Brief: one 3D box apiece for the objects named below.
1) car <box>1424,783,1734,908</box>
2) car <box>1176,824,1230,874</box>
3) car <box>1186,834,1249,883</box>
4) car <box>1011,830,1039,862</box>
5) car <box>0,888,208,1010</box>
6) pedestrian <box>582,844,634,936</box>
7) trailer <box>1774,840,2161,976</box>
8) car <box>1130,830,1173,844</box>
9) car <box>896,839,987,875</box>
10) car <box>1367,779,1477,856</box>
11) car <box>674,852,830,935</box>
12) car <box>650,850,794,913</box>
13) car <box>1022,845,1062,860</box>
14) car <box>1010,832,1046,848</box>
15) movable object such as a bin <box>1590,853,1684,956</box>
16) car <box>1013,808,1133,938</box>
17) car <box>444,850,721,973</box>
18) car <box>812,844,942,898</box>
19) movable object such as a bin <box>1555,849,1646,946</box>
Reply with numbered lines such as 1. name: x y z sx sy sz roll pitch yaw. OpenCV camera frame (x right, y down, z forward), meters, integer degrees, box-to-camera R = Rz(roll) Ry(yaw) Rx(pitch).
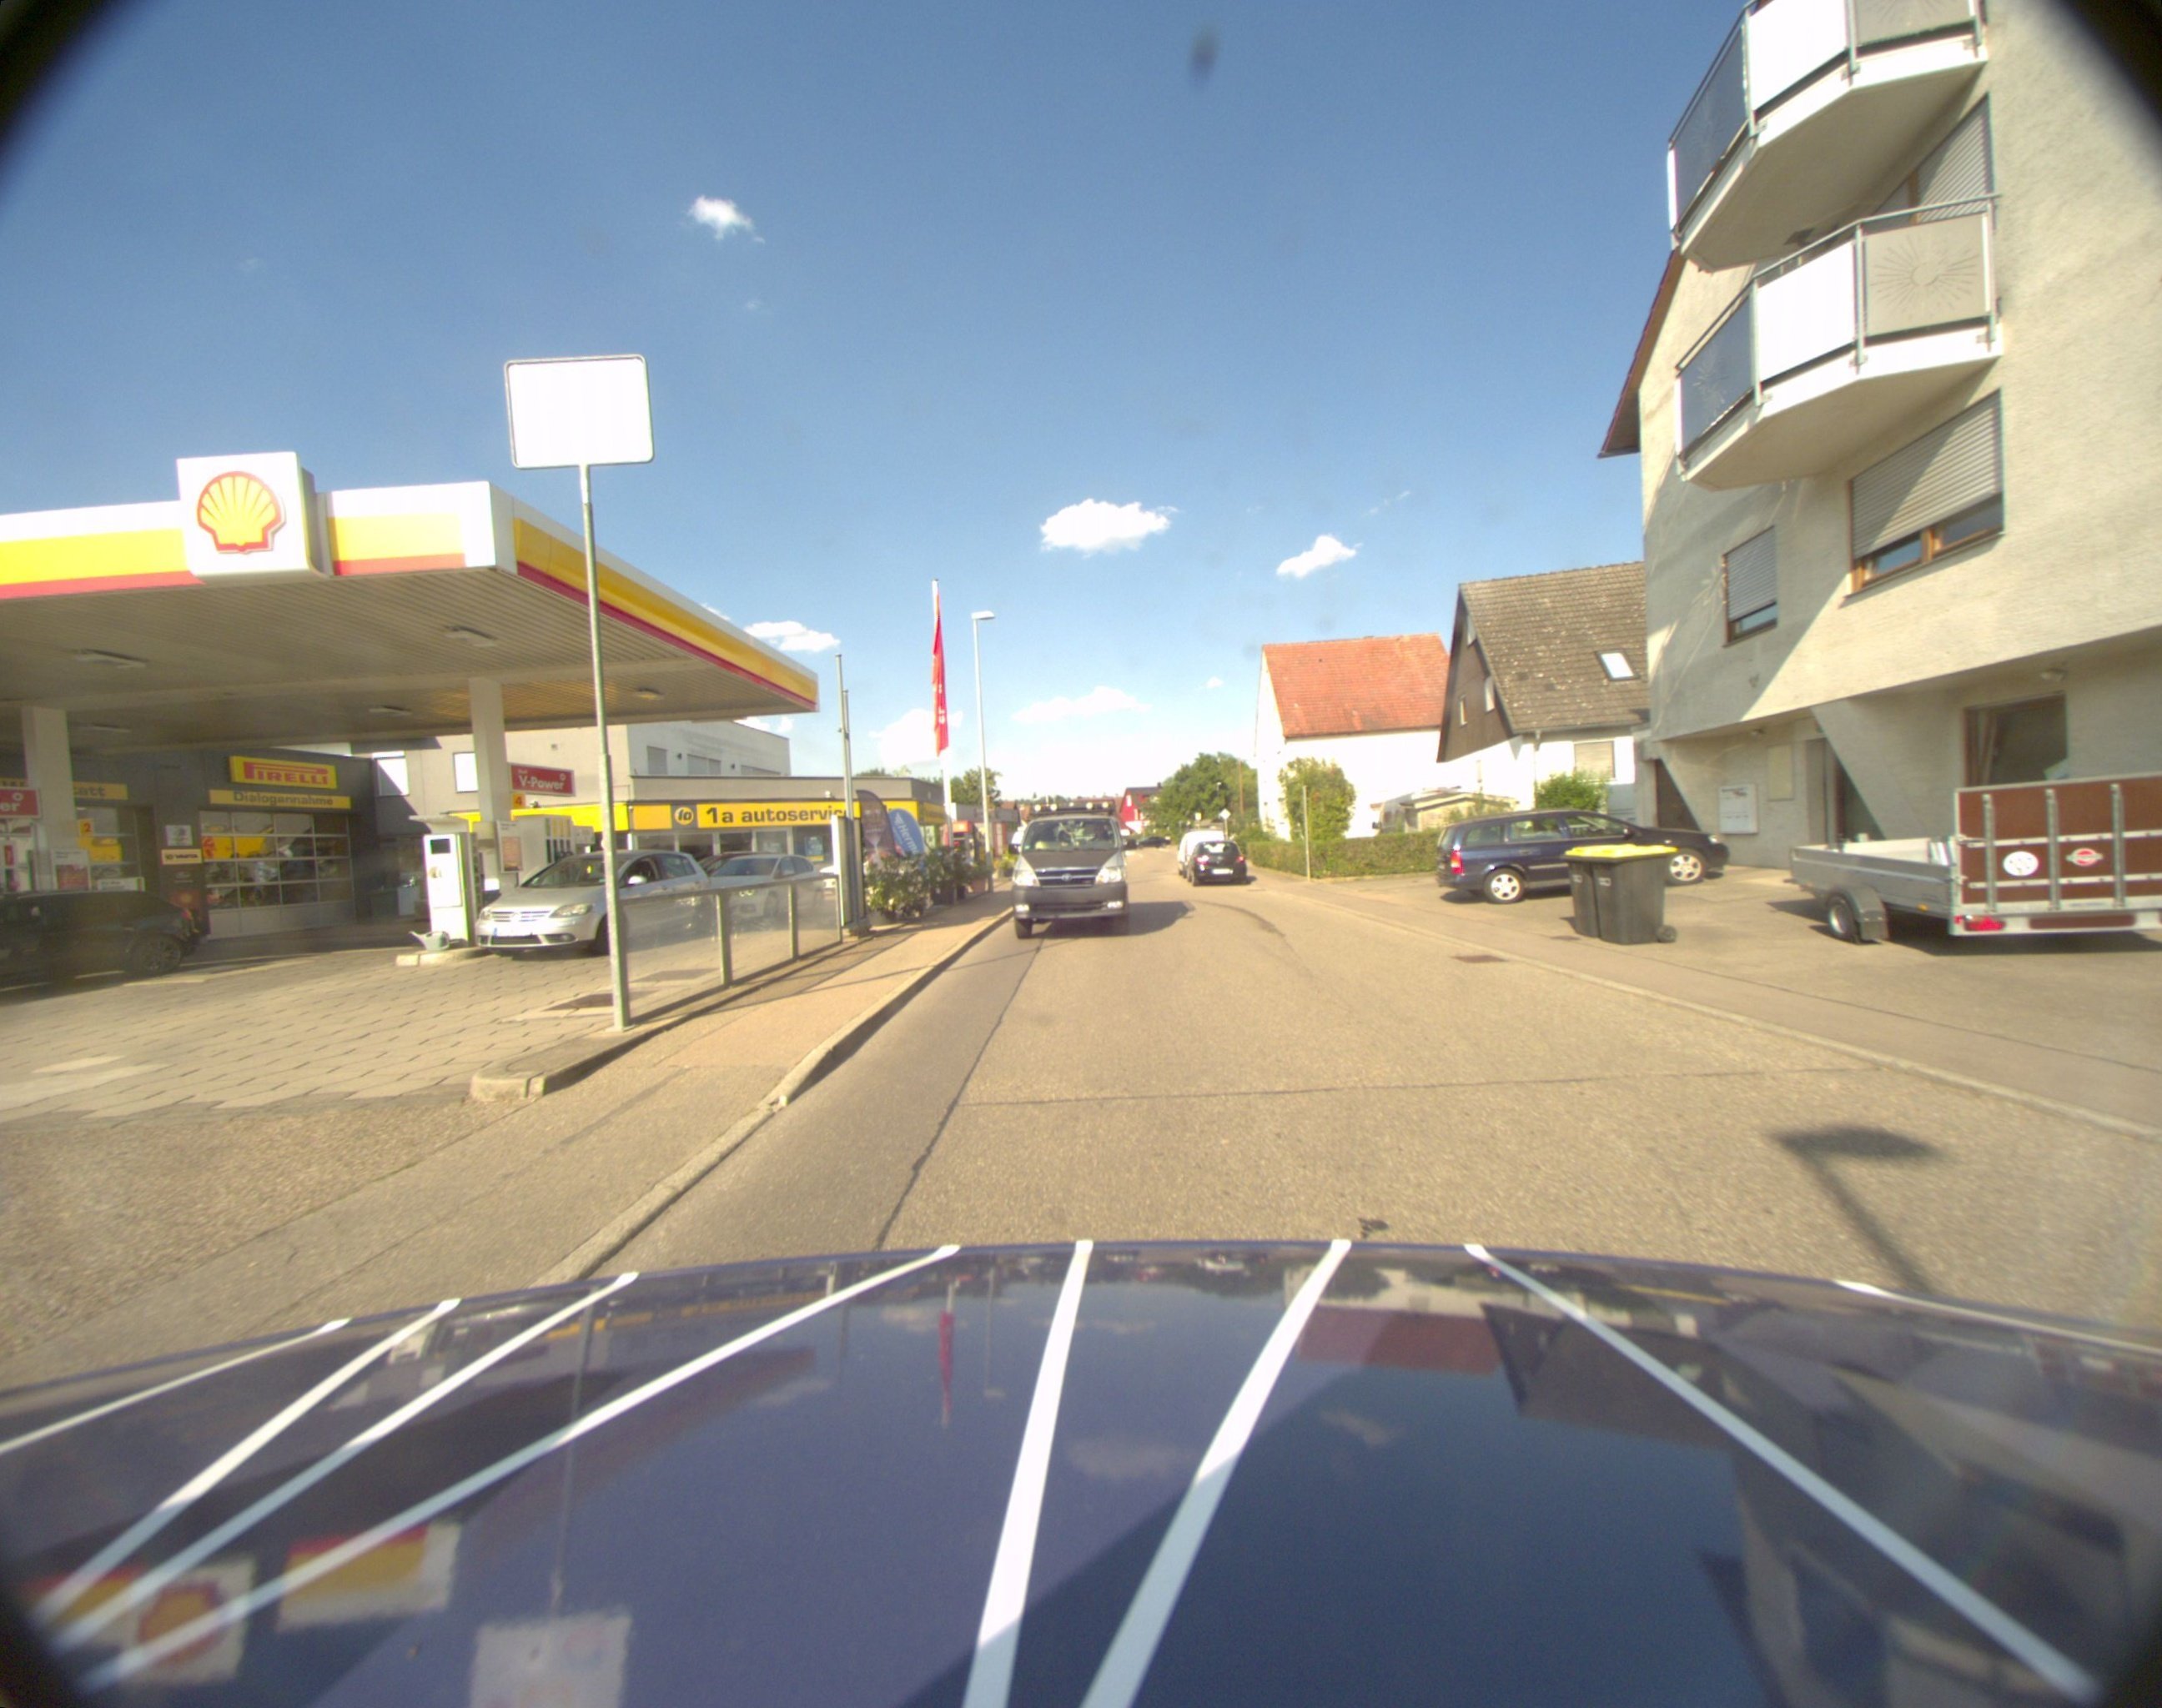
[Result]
1. car: 8.314 -0.123 13.104 3.994 1.529 1.764 -7 0 14
2. car: 4.881 -0.246 30.812 1.720 1.862 4.192 -2 2 4
3. car: 4.476 0.097 25.390 1.676 1.443 3.834 -2 1 5
4. car: -4.433 -0.692 60.626 1.841 2.361 5.176 -3 2 -1
5. car: -14.943 1.368 10.236 1.540 1.393 3.997 -2 3 2
6. pedestrian: -8.820 0.662 14.178 0.501 1.660 0.534 -3 2 3
7. trailer: 8.457 0.438 7.511 1.331 0.851 2.893 -4 3 20
8. car: 8.642 -2.063 92.938 4.848 1.423 1.768 -3 3 -19
9. car: -6.749 0.148 36.940 3.996 1.523 1.527 -3 2 3
10. car: 13.232 -1.380 29.981 2.162 2.581 6.096 -4 1 8
11. car: -7.434 0.814 17.627 1.676 1.568 3.998 -2 1 2
12. car: -11.137 0.785 23.700 3.693 1.624 1.672 -4 3 -40
13. car: -4.232 -0.187 82.905 4.073 1.409 1.625 -1 3 5
14. car: -6.241 -1.682 89.649 3.948 1.594 1.682 -3 3 3
15. movable object such as a bin: 6.209 0.548 8.504 0.571 1.065 0.557 -6 2 2
16. car: -0.062 0.238 14.350 1.820 1.989 4.820 -2 2 1
17. car: -7.766 0.776 12.378 1.676 1.568 3.998 -2 1 2
18. car: -7.171 0.532 26.985 4.085 1.665 1.672 -3 2 -40
19. movable object such as a bin: 6.234 0.510 9.146 0.601 1.065 0.619 -6 2 2
